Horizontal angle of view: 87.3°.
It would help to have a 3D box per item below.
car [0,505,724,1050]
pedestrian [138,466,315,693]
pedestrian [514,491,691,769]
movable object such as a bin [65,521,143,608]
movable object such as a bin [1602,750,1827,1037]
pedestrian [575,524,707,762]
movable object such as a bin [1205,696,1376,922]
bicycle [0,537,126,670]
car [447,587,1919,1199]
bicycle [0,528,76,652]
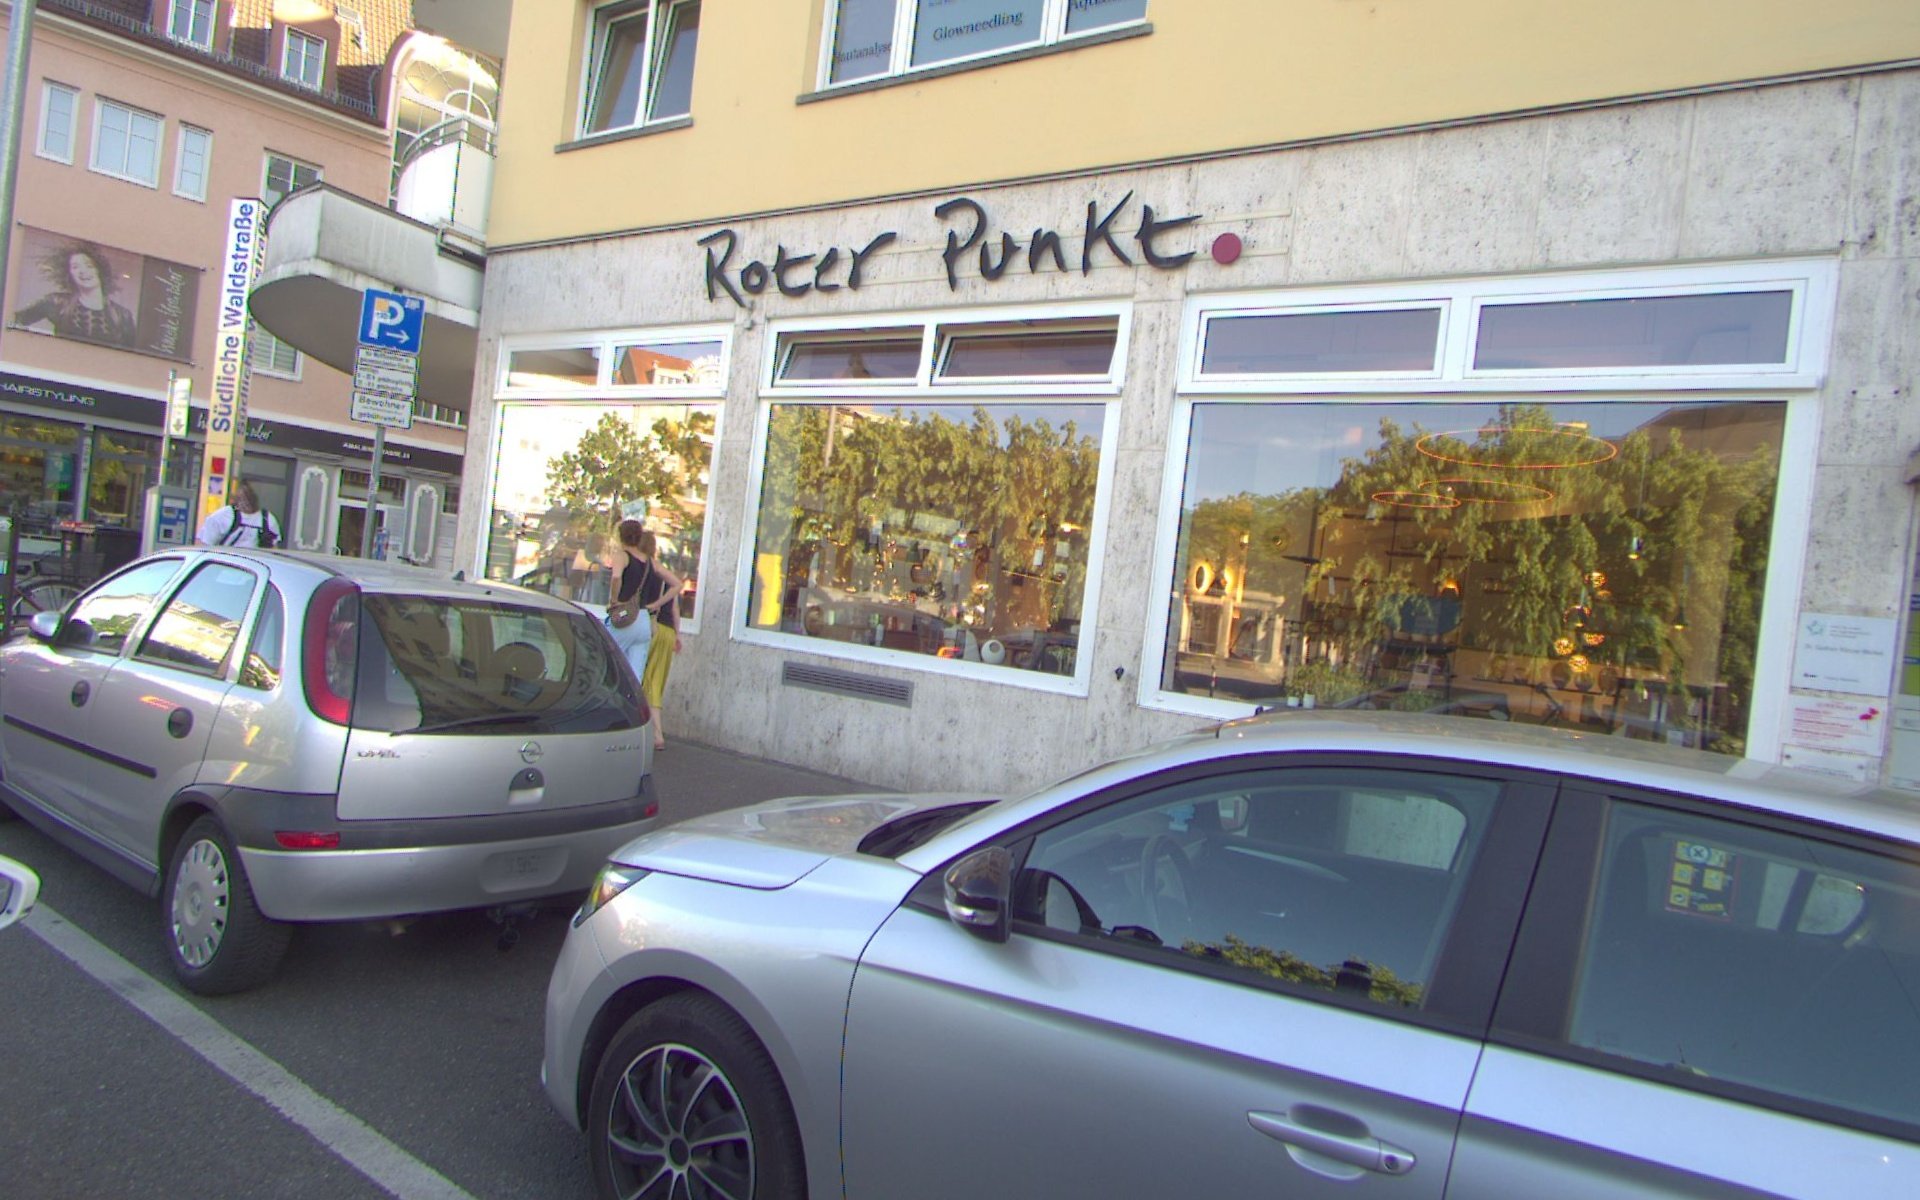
[{"bbox_3d":[-2.968,0.479,4.466,3.520,1.443,1.587,6,-2,32],"label":"car"},{"bbox_3d":[-6.474,-0.176,8.884,0.967,1.844,0.809,6,-1,35],"label":"pedestrian"},{"bbox_3d":[-2.613,0.202,7.391,0.877,1.874,0.682,5,2,17],"label":"pedestrian"},{"bbox_3d":[-11.968,-0.494,14.070,0.716,1.117,0.636,7,2,35],"label":"movable object such as a bin"},{"bbox_3d":[3.361,1.260,4.552,0.639,1.035,0.738,6,-1,31],"label":"movable object such as a bin"},{"bbox_3d":[-2.550,0.329,8.013,0.715,1.777,0.781,4,2,-32],"label":"pedestrian"},{"bbox_3d":[1.813,1.091,5.482,0.639,1.035,0.738,6,-1,31],"label":"movable object such as a bin"},{"bbox_3d":[-8.177,-0.002,8.258,0.642,1.057,1.884,7,0,33],"label":"bicycle"},{"bbox_3d":[0.768,0.938,2.286,3.624,1.453,1.587,6,-2,30],"label":"car"},{"bbox_3d":[-9.068,-0.156,8.803,0.642,1.072,1.816,7,-1,33],"label":"bicycle"}]
